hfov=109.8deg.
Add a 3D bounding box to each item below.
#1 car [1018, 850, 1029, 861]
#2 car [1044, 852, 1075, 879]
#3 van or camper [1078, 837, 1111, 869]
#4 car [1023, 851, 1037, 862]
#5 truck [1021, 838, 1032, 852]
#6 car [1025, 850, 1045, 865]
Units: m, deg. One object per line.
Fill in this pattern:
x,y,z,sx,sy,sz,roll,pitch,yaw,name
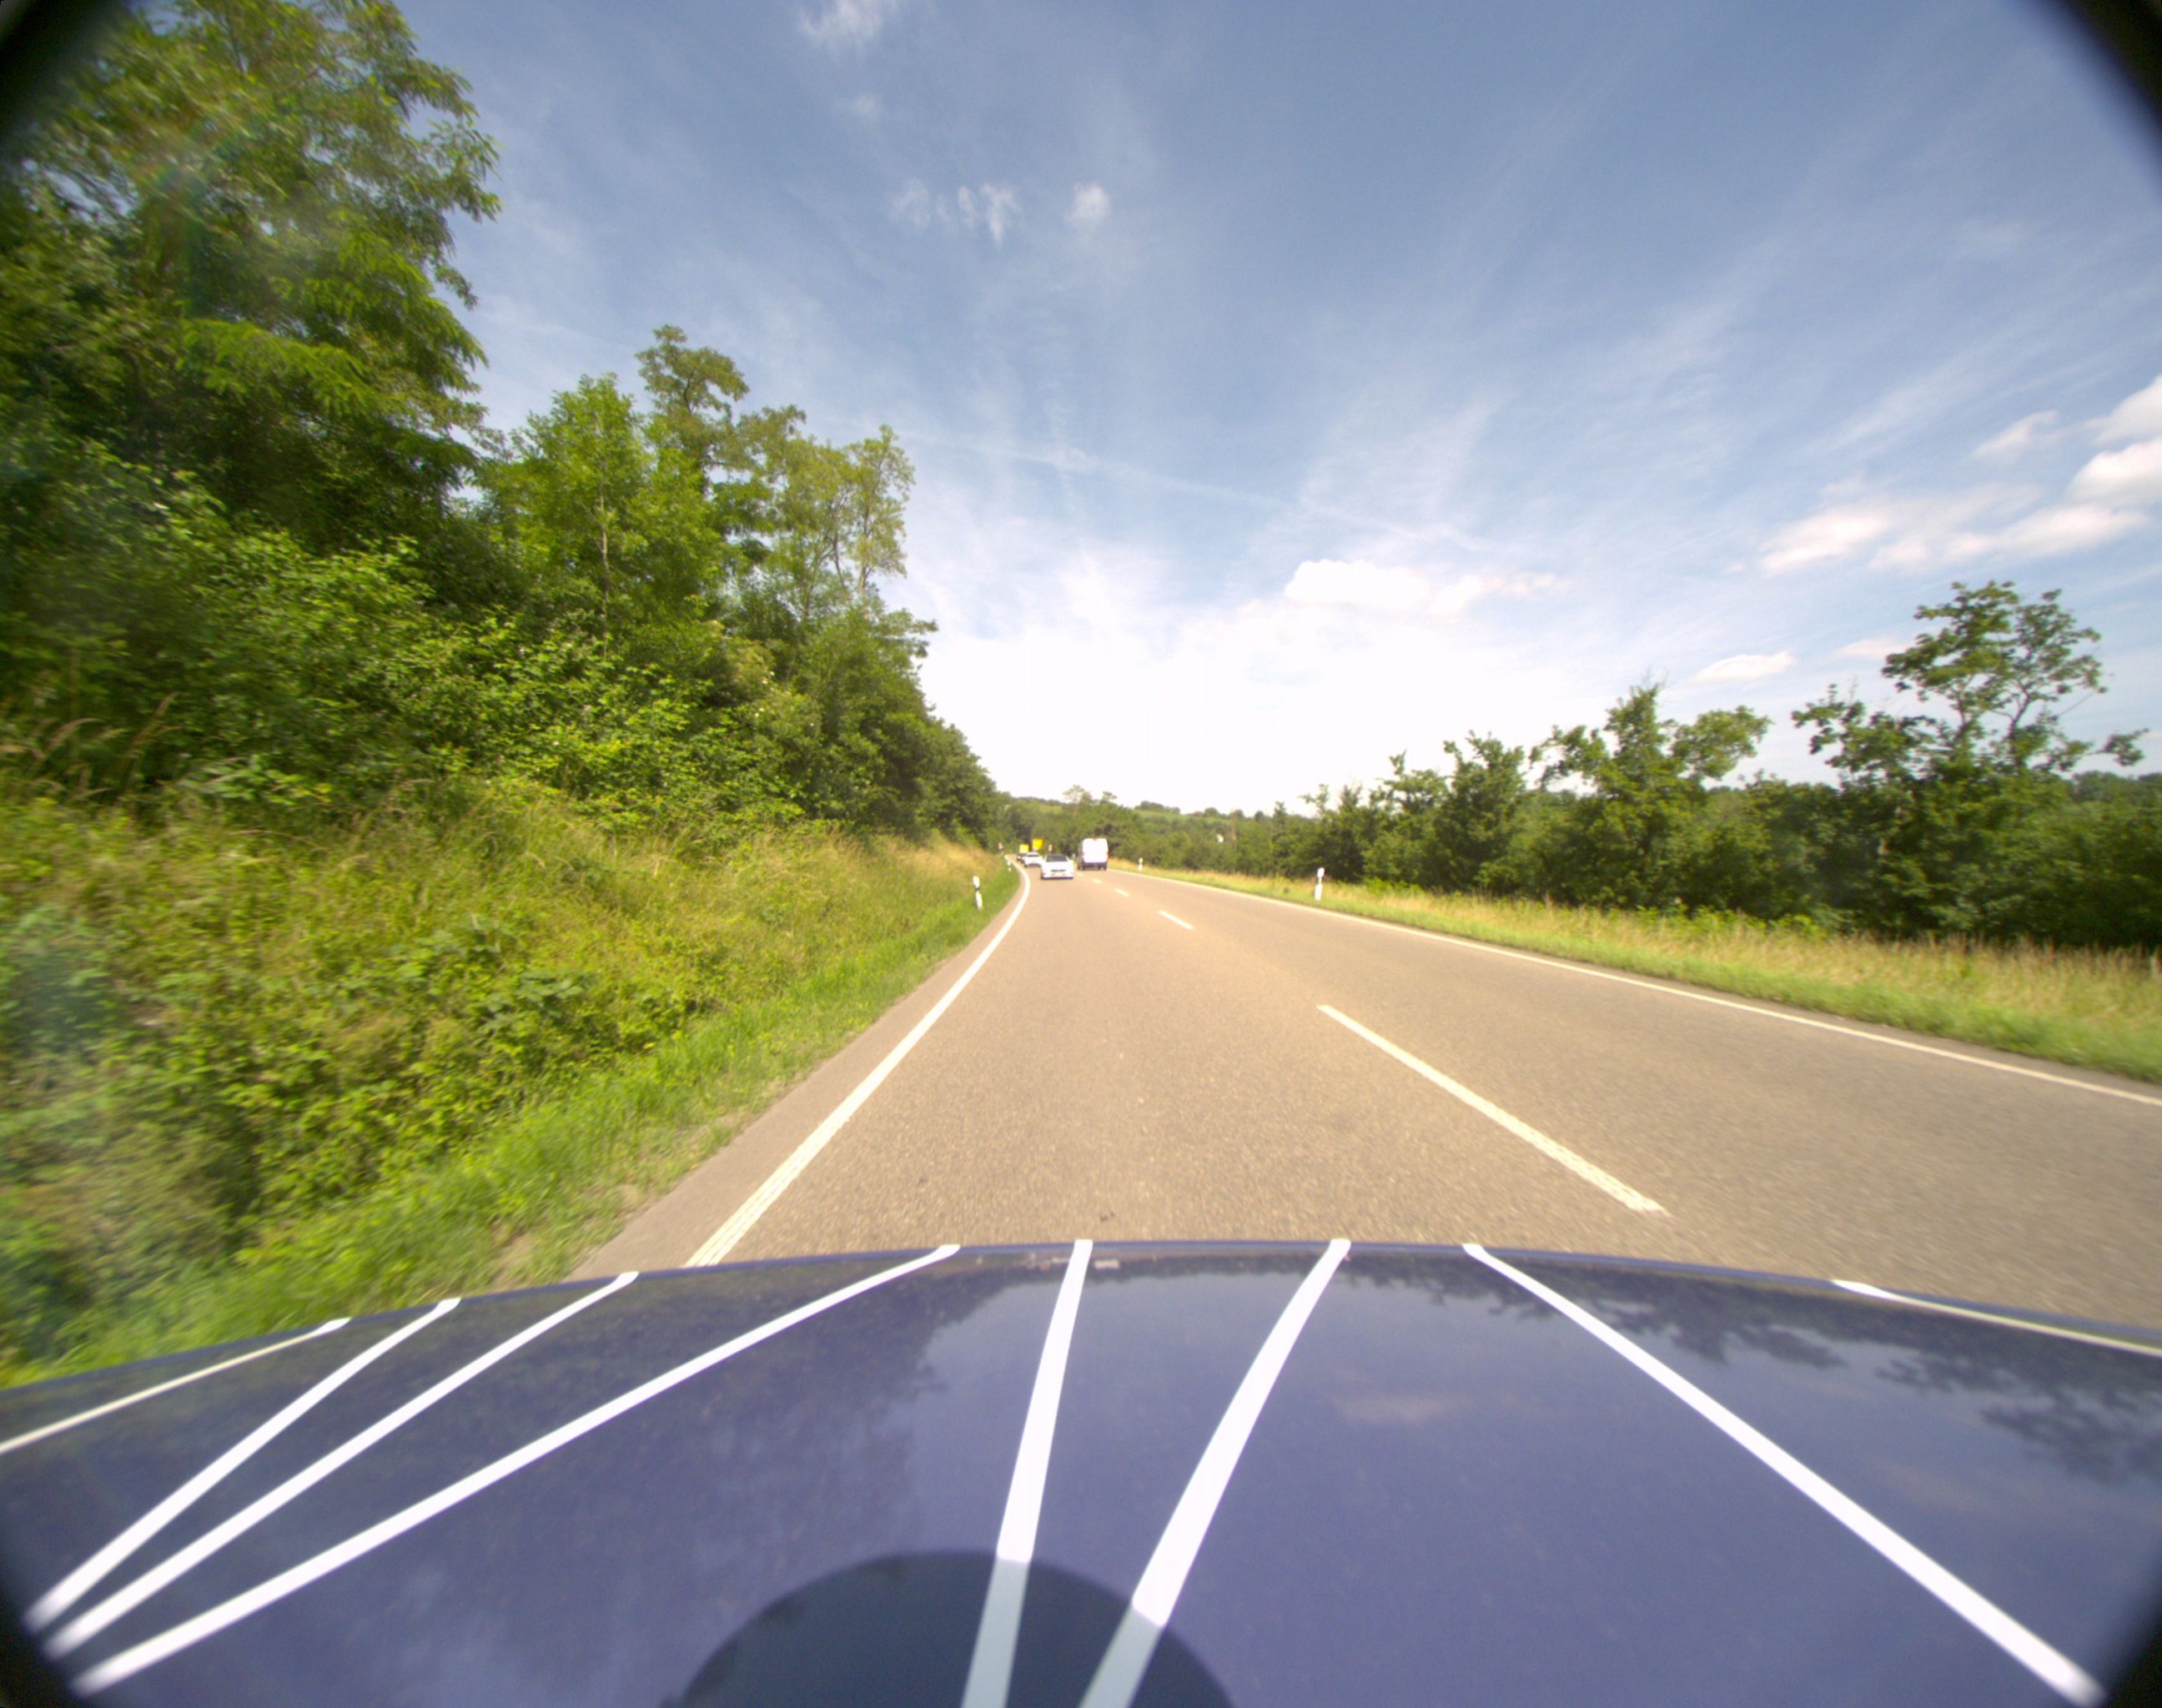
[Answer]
-9.269,0.191,121.806,1.666,1.641,3.997,-1,0,-6,car
-1.313,0.659,45.364,1.773,1.437,3.999,-2,0,-3,car
1.101,-0.107,64.824,2.214,2.513,6.130,-1,1,-4,van or camper
-7.033,0.304,103.935,1.825,1.510,3.998,-1,0,-5,car
-18.536,-2.918,257.441,3.340,4.503,8.571,2,0,-7,truck
-4.799,0.345,79.201,1.867,1.480,3.998,-2,0,-6,car
